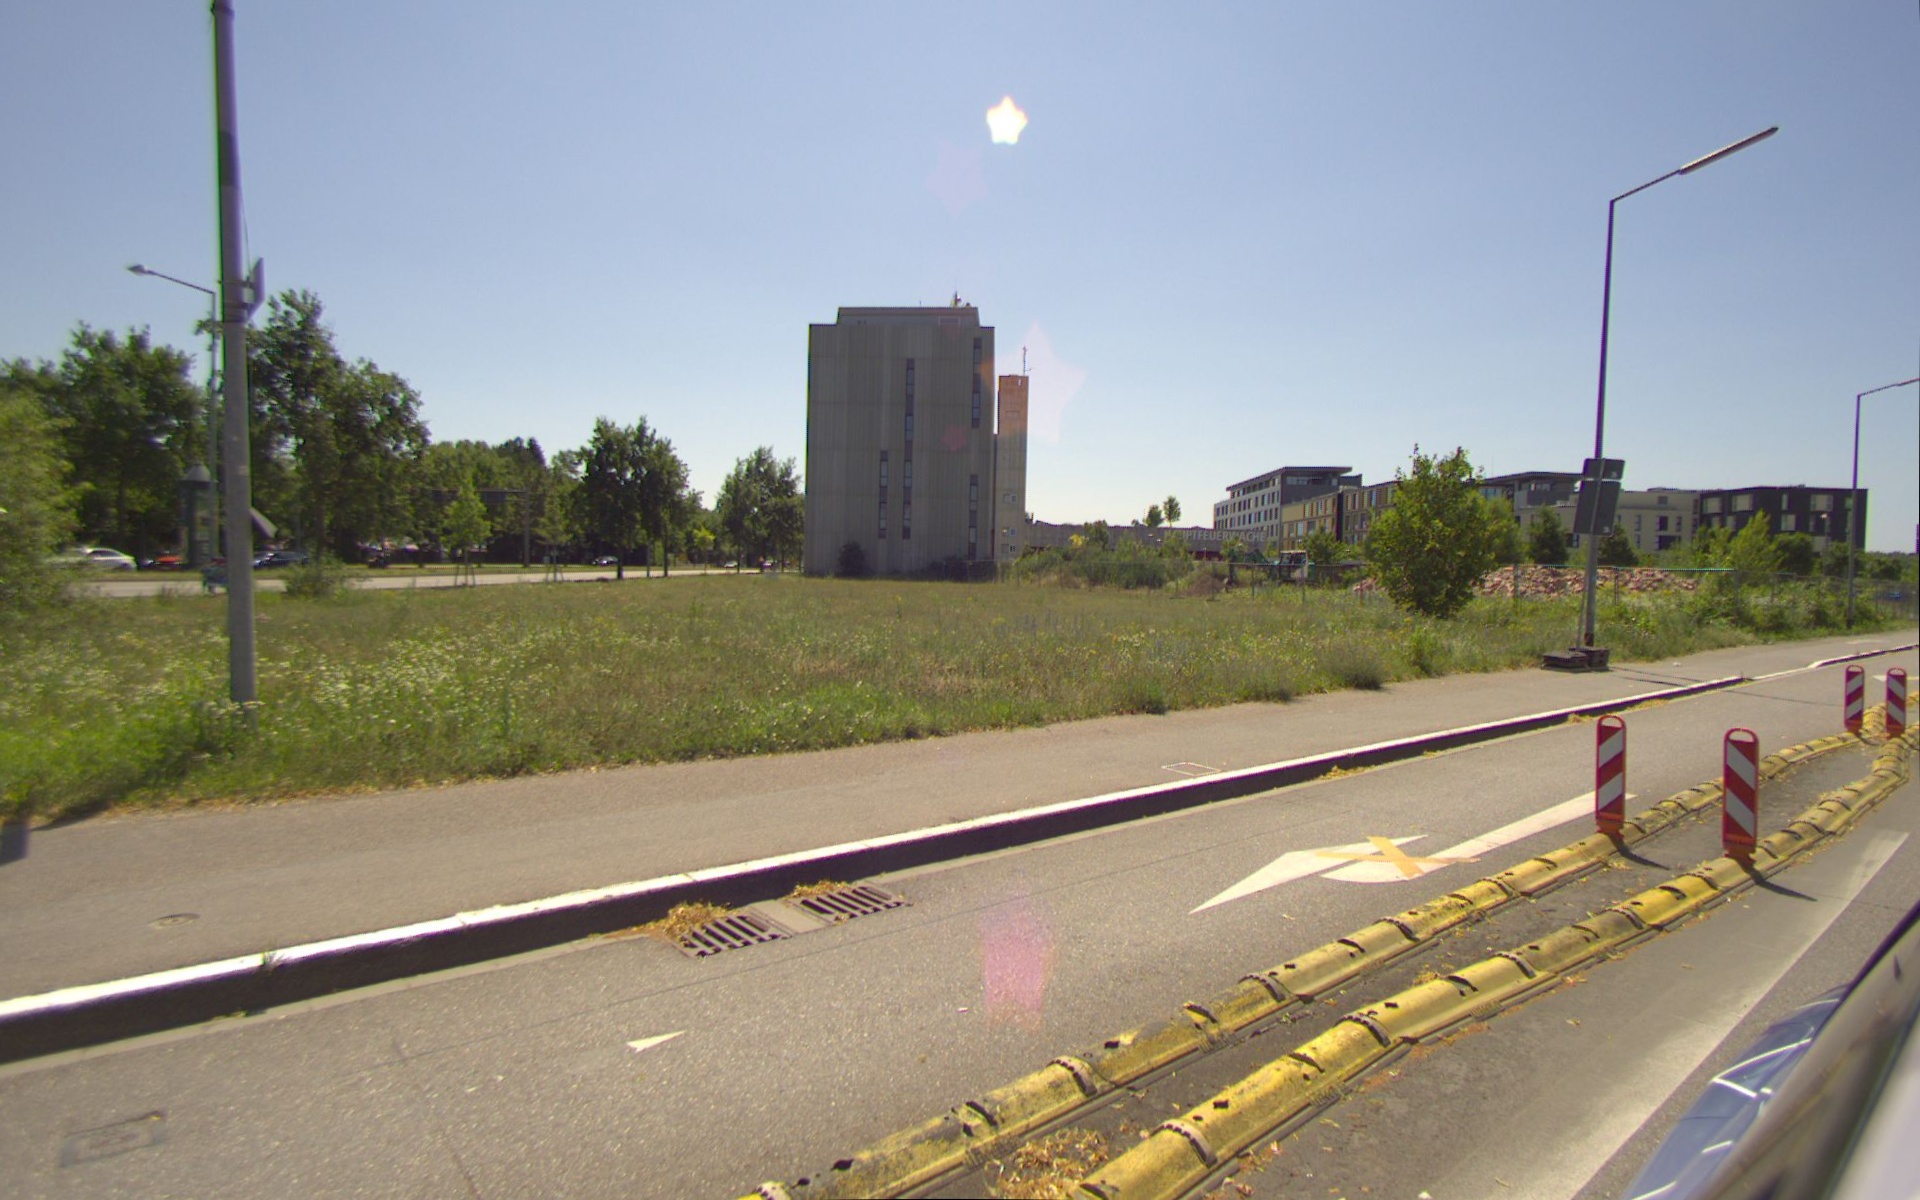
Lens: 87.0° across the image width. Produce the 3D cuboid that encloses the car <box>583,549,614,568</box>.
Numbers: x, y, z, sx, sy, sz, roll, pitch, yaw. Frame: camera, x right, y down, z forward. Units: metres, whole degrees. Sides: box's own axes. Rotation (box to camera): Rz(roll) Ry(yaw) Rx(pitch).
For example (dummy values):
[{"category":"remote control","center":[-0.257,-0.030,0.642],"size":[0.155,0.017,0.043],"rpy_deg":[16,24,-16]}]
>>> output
[{"category":"car","center":[-40.517,-4.618,113.392],"size":[1.963,2.039,3.999],"rpy_deg":[0,1,1]}]

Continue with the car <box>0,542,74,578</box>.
[{"category":"car","center":[-45.725,-1.949,48.899],"size":[1.830,1.704,4.406],"rpy_deg":[2,2,3]}]

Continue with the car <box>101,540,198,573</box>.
[{"category":"car","center":[-45.489,-2.421,56.936],"size":[1.830,1.704,4.406],"rpy_deg":[2,2,3]}]

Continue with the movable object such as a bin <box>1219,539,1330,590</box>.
[{"category":"movable object such as a bin","center":[20.698,-2.293,66.456],"size":[7.456,3.188,2.816],"rpy_deg":[-1,1,-32]}]

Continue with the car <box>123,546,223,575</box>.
[{"category":"car","center":[-42.585,-2.118,54.894],"size":[1.830,1.440,4.406],"rpy_deg":[2,2,3]}]

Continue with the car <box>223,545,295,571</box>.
[{"category":"car","center":[-42.185,-2.511,61.011],"size":[1.689,1.493,3.796],"rpy_deg":[0,1,1]}]

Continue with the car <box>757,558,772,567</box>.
[{"category":"car","center":[-36.136,-6.910,186.938],"size":[1.834,1.574,4.000],"rpy_deg":[2,2,1]}]

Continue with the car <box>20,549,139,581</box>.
[{"category":"car","center":[-42.622,-1.679,49.148],"size":[1.830,1.440,4.406],"rpy_deg":[2,2,3]}]

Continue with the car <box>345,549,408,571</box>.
[{"category":"car","center":[-41.851,-2.842,72.741],"size":[1.830,1.440,4.406],"rpy_deg":[2,2,3]}]
